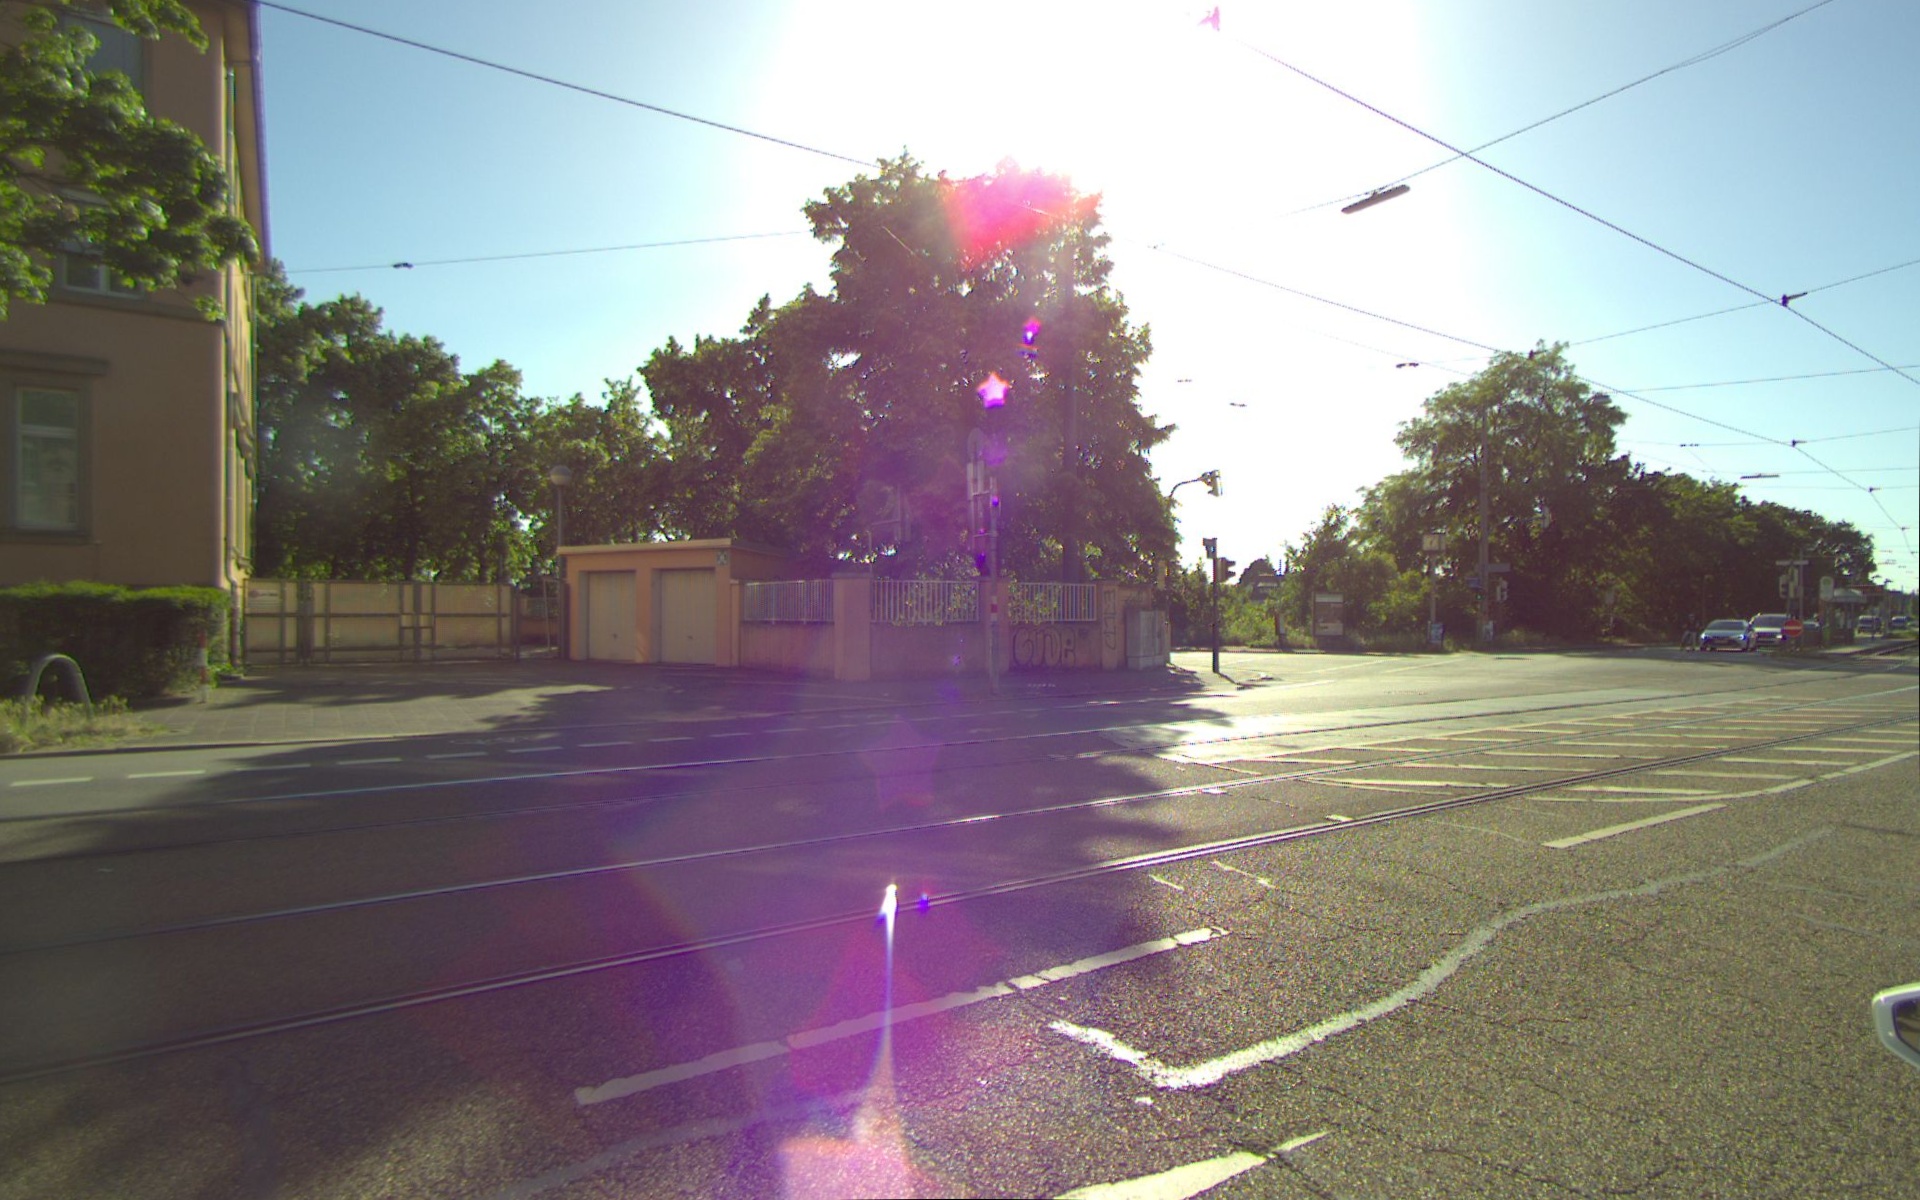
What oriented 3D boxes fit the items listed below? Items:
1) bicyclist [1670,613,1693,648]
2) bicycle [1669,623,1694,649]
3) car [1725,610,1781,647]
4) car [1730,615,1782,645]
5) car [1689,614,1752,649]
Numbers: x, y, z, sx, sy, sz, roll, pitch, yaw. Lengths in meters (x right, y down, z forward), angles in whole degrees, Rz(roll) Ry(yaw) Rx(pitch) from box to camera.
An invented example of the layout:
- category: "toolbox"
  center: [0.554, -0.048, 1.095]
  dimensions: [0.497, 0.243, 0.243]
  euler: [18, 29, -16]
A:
- category: "bicyclist"
  center: [32.180, 1.364, 44.782]
  dimensions: [0.740, 1.524, 0.959]
  euler: [0, 0, 41]
- category: "bicycle"
  center: [32.144, 1.578, 44.746]
  dimensions: [0.740, 1.102, 2.166]
  euler: [0, 0, 41]
- category: "car"
  center: [40.177, 1.412, 50.846]
  dimensions: [1.972, 1.784, 3.978]
  euler: [0, -1, 42]
- category: "car"
  center: [43.372, 1.611, 54.695]
  dimensions: [1.972, 1.524, 3.978]
  euler: [0, -1, 42]
- category: "car"
  center: [35.341, 1.447, 46.635]
  dimensions: [1.972, 1.524, 3.978]
  euler: [0, -1, 42]
